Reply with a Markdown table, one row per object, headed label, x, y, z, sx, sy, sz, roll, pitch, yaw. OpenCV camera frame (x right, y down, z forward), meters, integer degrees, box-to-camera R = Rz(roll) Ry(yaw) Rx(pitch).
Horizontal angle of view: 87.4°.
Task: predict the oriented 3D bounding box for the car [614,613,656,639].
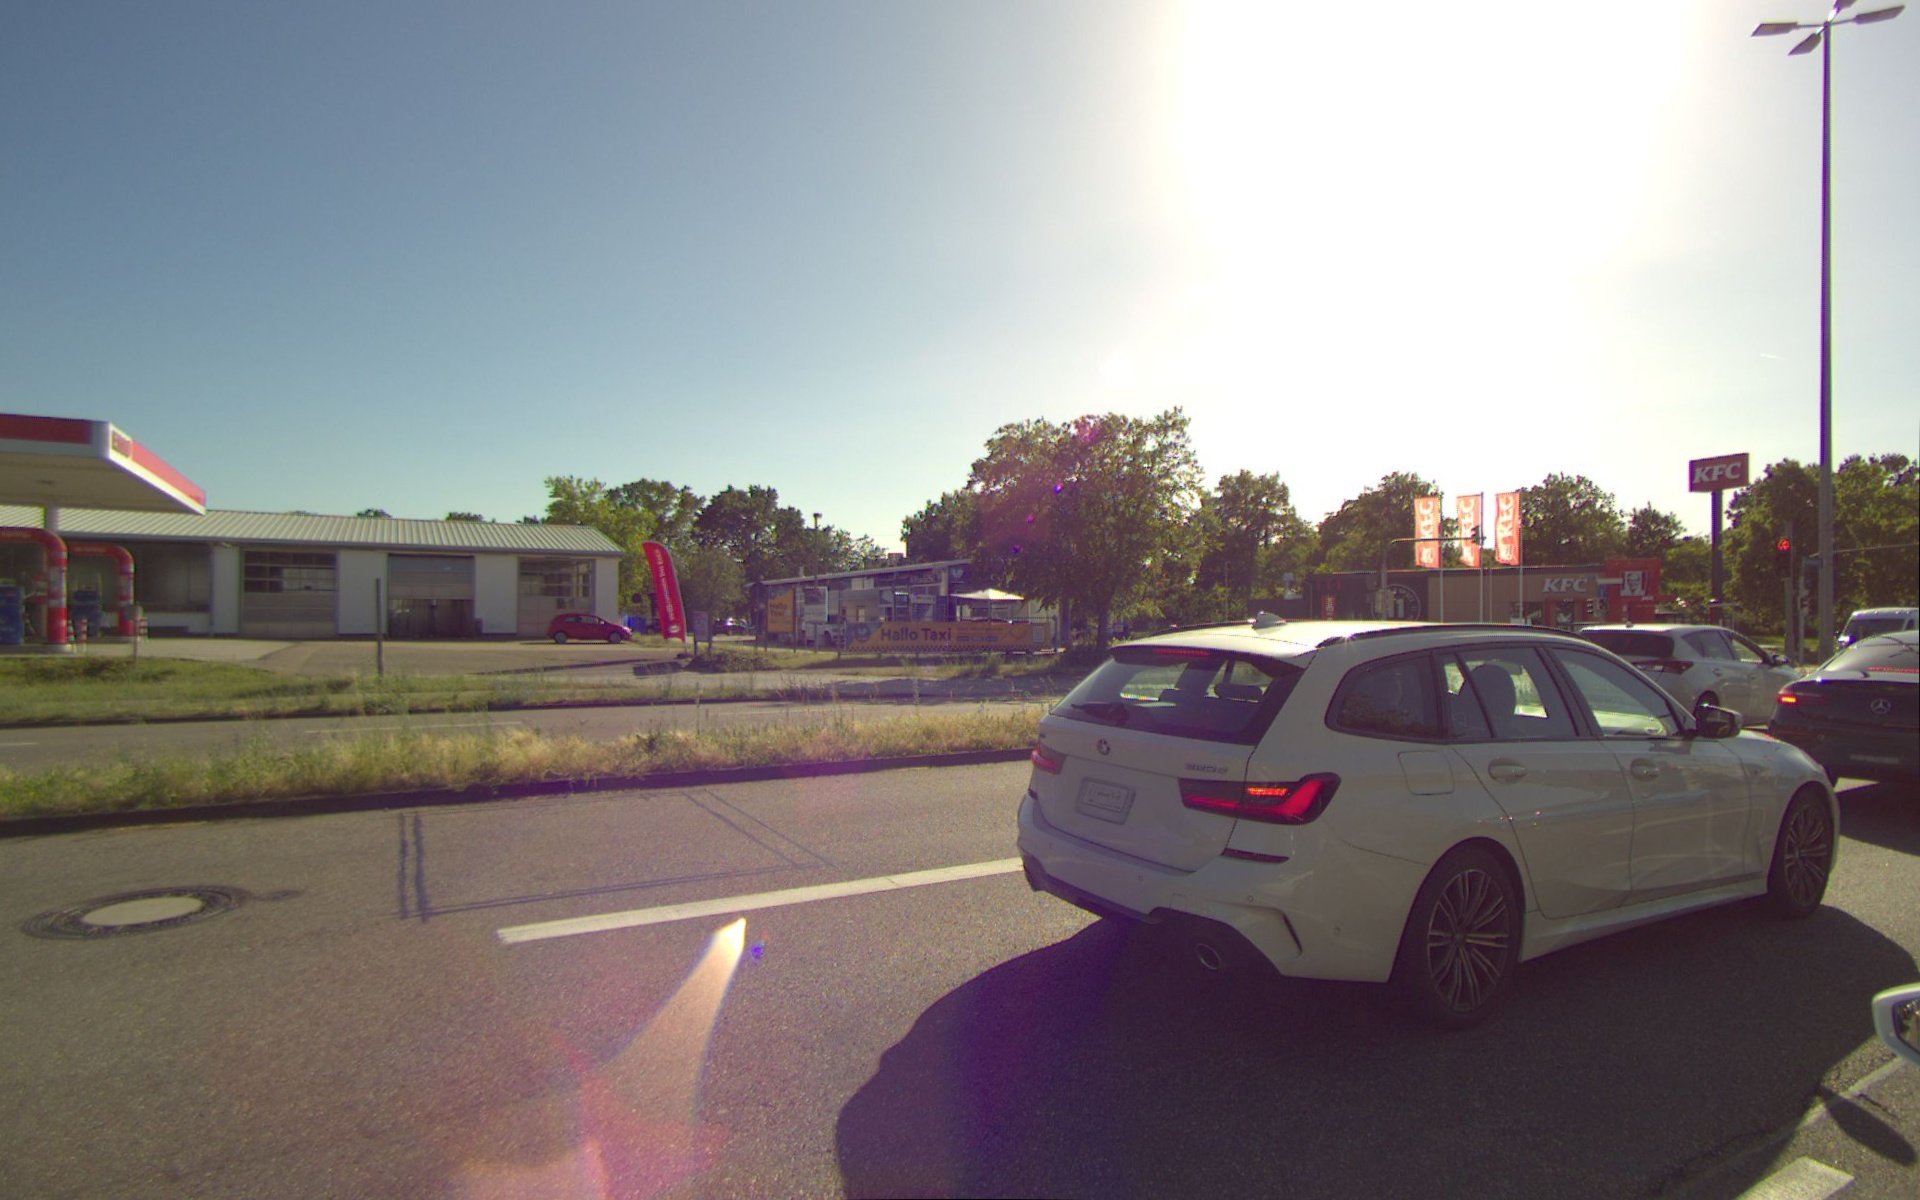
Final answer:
| label | x | y | z | sx | sy | sz | roll | pitch | yaw |
| --- | --- | --- | --- | --- | --- | --- | --- | --- | --- |
| car | -19.337 | 1.548 | 59.724 | 1.634 | 1.383 | 3.744 | 2 | 0 | -29 |

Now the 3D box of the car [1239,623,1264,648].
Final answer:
| label | x | y | z | sx | sy | sz | roll | pitch | yaw |
| --- | --- | --- | --- | --- | --- | --- | --- | --- | --- |
| car | 21.799 | 2.626 | 75.153 | 1.629 | 1.695 | 3.945 | 2 | 0 | 18 |

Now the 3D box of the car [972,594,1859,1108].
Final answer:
| label | x | y | z | sx | sy | sz | roll | pitch | yaw |
| --- | --- | --- | --- | --- | --- | --- | --- | --- | --- |
| car | 2.375 | 0.798 | 4.874 | 4.353 | 1.510 | 1.776 | 2 | 0 | -31 |

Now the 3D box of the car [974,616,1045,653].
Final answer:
| label | x | y | z | sx | sy | sz | roll | pitch | yaw |
| --- | --- | --- | --- | --- | --- | --- | --- | --- | --- |
| car | 2.386 | 1.669 | 49.556 | 1.839 | 1.613 | 3.974 | 2 | 0 | -26 |

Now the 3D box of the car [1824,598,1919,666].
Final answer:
| label | x | y | z | sx | sy | sz | roll | pitch | yaw |
| --- | --- | --- | --- | --- | --- | --- | --- | --- | --- |
| car | 36.223 | 1.289 | 39.159 | 5.754 | 2.478 | 2.013 | 2 | -4 | -31 |

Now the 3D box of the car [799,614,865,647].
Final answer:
| label | x | y | z | sx | sy | sz | roll | pitch | yaw |
| --- | --- | --- | --- | --- | --- | --- | --- | --- | --- |
| car | -6.808 | 1.616 | 53.164 | 1.978 | 1.584 | 3.964 | 2 | 0 | -32 |

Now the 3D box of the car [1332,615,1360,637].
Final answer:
| label | x | y | z | sx | sy | sz | roll | pitch | yaw |
| --- | --- | --- | --- | --- | --- | --- | --- | --- | --- |
| car | 28.279 | 1.898 | 73.655 | 1.629 | 1.491 | 3.919 | 2 | 0 | 18 |

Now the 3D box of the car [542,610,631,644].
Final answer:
| label | x | y | z | sx | sy | sz | roll | pitch | yaw |
| --- | --- | --- | --- | --- | --- | --- | --- | --- | --- |
| car | -18.358 | 1.337 | 49.404 | 3.946 | 1.537 | 1.772 | 2 | 0 | -25 |

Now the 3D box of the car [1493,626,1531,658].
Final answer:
| label | x | y | z | sx | sy | sz | roll | pitch | yaw |
| --- | --- | --- | --- | --- | --- | --- | --- | --- | --- |
| car | 33.078 | 2.477 | 60.202 | 1.880 | 1.776 | 4.349 | 2 | 0 | 29 |

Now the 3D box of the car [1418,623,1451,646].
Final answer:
| label | x | y | z | sx | sy | sz | roll | pitch | yaw |
| --- | --- | --- | --- | --- | --- | --- | --- | --- | --- |
| car | 33.923 | 2.459 | 71.947 | 1.629 | 1.491 | 3.919 | 2 | 0 | 18 |

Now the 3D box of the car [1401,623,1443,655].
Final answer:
| label | x | y | z | sx | sy | sz | roll | pitch | yaw |
| --- | --- | --- | --- | --- | --- | --- | --- | --- | --- |
| car | 28.332 | 2.346 | 61.520 | 1.964 | 1.788 | 4.349 | 2 | 0 | 29 |

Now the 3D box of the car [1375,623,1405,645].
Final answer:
| label | x | y | z | sx | sy | sz | roll | pitch | yaw |
| --- | --- | --- | --- | --- | --- | --- | --- | --- | --- |
| car | 31.290 | 2.449 | 73.220 | 1.629 | 1.491 | 3.919 | 2 | 0 | 18 |

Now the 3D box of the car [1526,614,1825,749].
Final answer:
| label | x | y | z | sx | sy | sz | roll | pitch | yaw |
| --- | --- | --- | --- | --- | --- | --- | --- | --- | --- |
| car | 9.576 | 1.001 | 13.371 | 4.150 | 1.510 | 1.750 | 2 | 0 | -31 |

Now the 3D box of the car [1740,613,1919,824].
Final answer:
| label | x | y | z | sx | sy | sz | roll | pitch | yaw |
| --- | --- | --- | --- | --- | --- | --- | --- | --- | --- |
| car | 8.766 | 0.931 | 8.637 | 4.425 | 1.510 | 1.787 | 2 | 0 | -31 |

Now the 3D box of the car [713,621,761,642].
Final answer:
| label | x | y | z | sx | sy | sz | roll | pitch | yaw |
| --- | --- | --- | --- | --- | --- | --- | --- | --- | --- |
| car | -19.428 | 2.725 | 87.634 | 3.929 | 1.634 | 1.996 | 2 | 0 | -11 |
